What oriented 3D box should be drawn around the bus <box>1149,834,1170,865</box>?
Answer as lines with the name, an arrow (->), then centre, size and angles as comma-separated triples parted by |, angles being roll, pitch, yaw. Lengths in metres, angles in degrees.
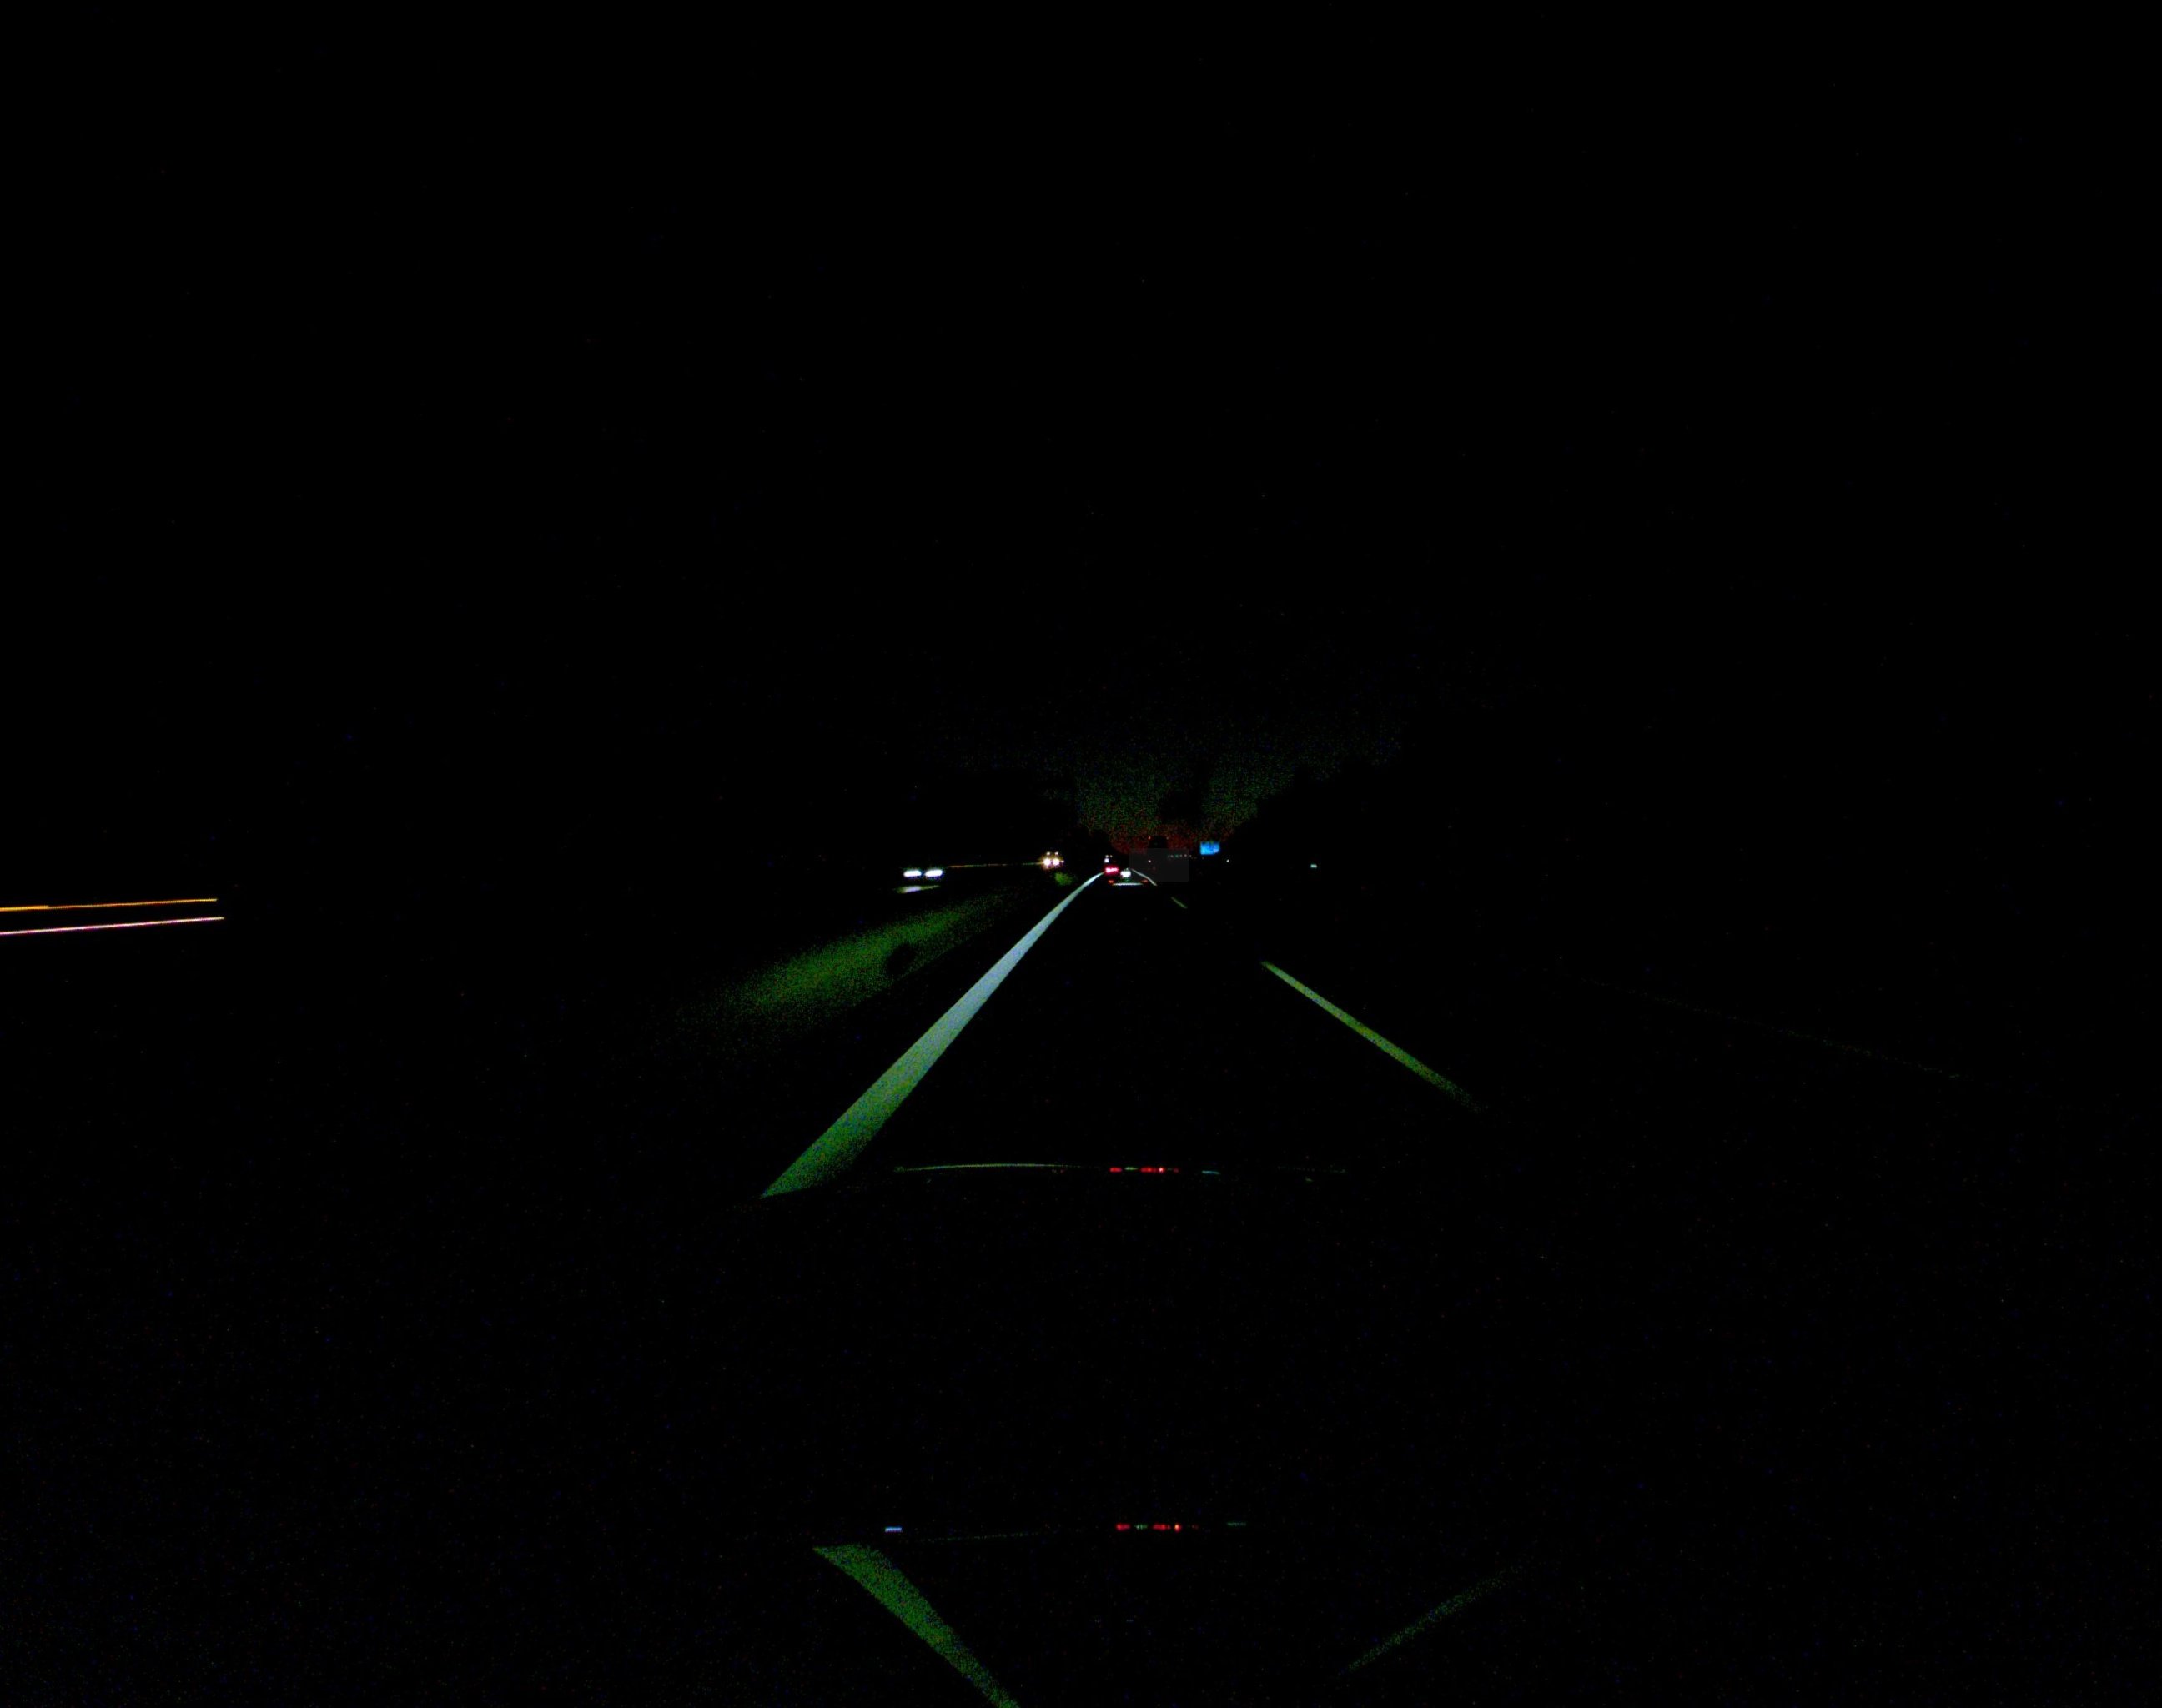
bus -> 11.385, -0.489, 117.417 | 2.639, 3.994, 14.725 | -4, -2, 6

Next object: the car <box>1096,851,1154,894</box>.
car -> 1.700, 0.697, 32.924 | 2.099, 1.618, 4.203 | 0, 1, 0

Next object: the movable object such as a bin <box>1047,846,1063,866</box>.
movable object such as a bin -> -4.808, 0.385, 150.807 | 2.198, 3.417, 7.445 | -1, 0, 4

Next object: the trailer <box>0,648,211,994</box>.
trailer -> -15.435, -0.425, 5.918 | 2.841, 4.433, 13.986 | 0, 0, 2

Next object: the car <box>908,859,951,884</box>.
car -> -9.529, 1.081, 51.415 | 1.806, 1.453, 4.135 | -1, 0, 1

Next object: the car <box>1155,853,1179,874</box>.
car -> 7.366, 0.844, 70.075 | 1.903, 1.730, 4.003 | 2, -1, 3

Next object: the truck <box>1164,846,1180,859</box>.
truck -> 22.155, -0.396, 198.072 | 2.539, 3.016, 9.046 | 0, 0, -2
